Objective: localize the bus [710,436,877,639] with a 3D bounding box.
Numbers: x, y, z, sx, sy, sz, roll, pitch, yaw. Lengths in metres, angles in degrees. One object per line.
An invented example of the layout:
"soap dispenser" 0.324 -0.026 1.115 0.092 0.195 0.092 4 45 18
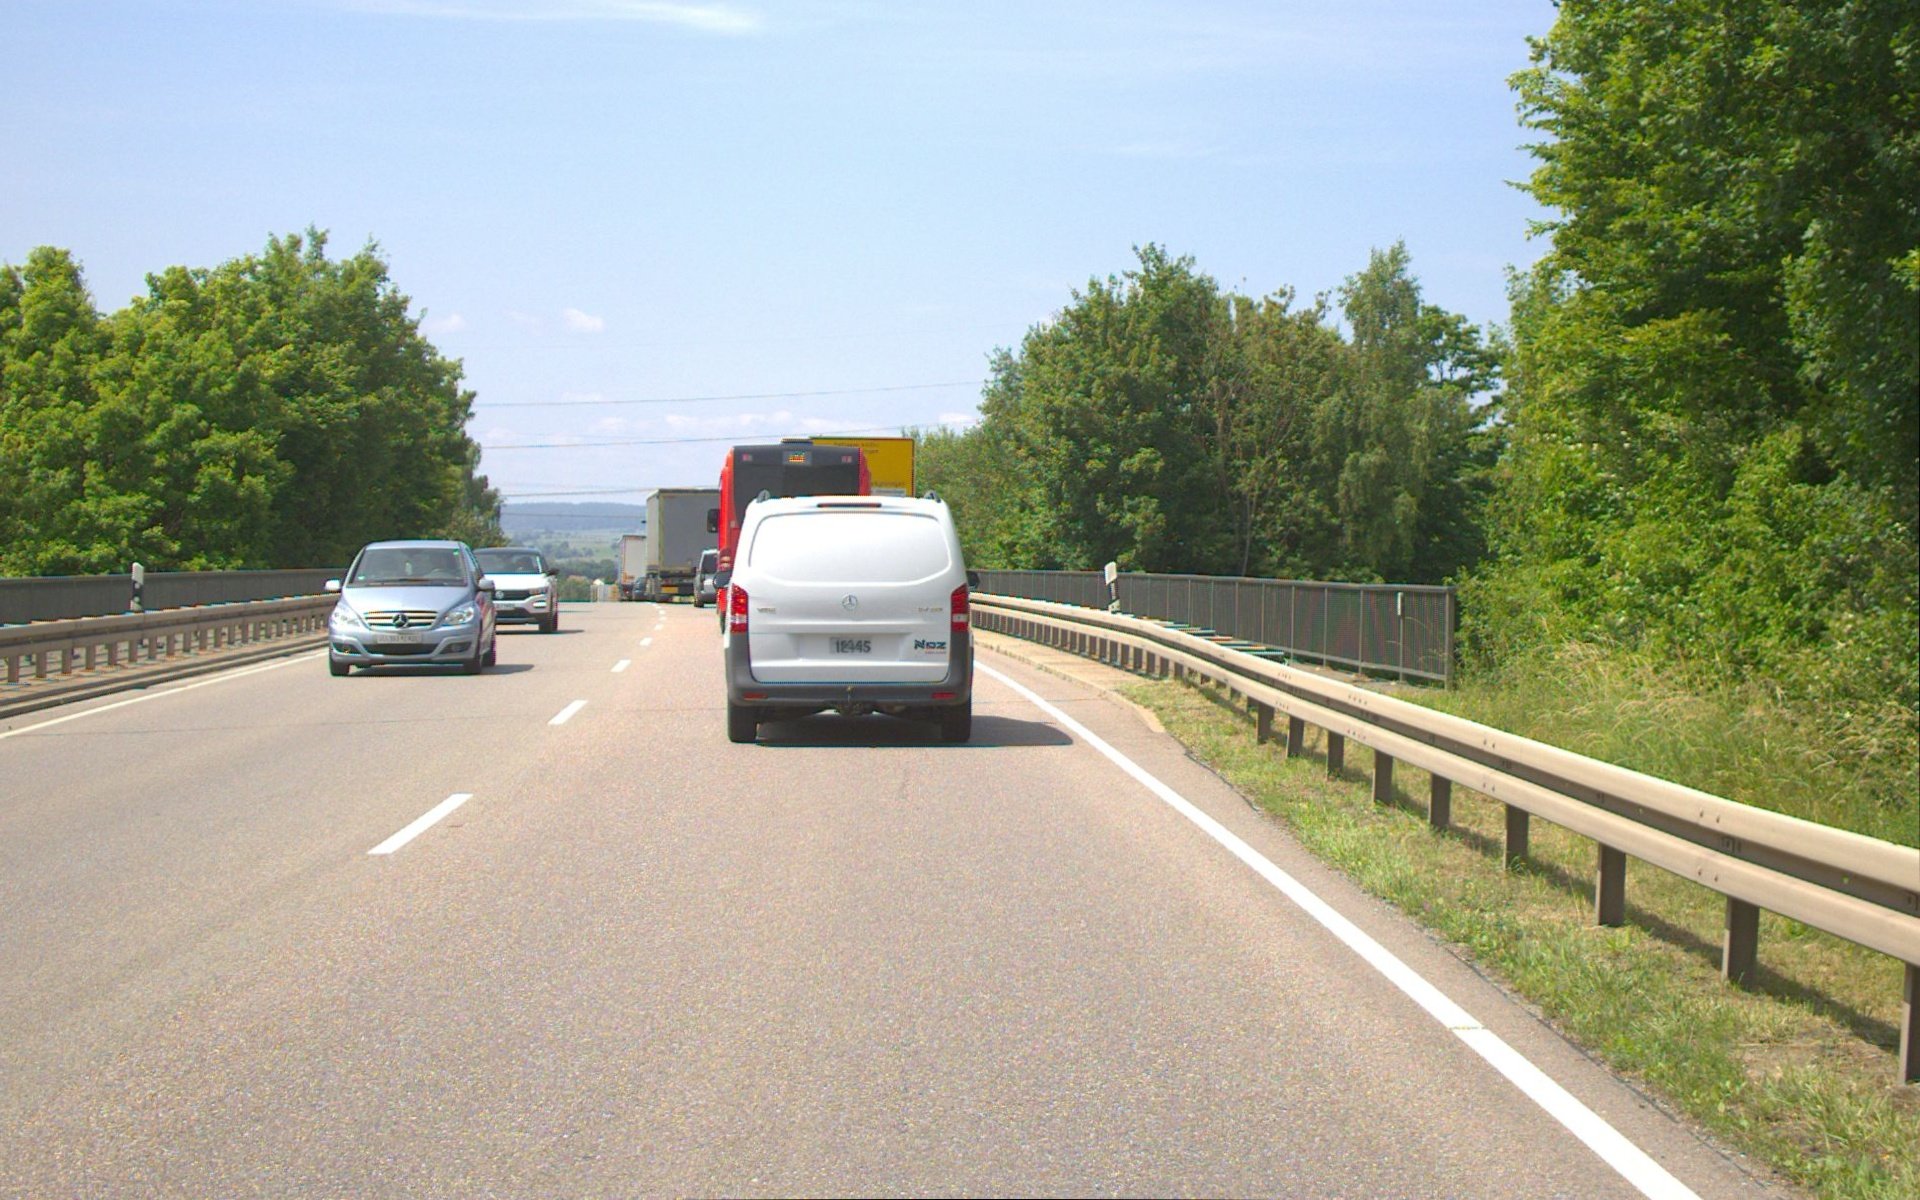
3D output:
"bus" -3.120 -1.161 63.388 2.747 3.342 13.223 0 1 -3

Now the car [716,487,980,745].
"car" -0.949 0.077 27.367 1.923 1.883 4.001 1 1 -3

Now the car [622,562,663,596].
"car" -17.344 -1.141 187.823 1.993 1.809 4.001 1 1 -9

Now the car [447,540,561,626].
"car" -8.301 -0.342 62.913 1.879 1.506 4.544 0 1 -5

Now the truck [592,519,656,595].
"truck" -20.608 -2.685 210.224 3.034 4.439 14.907 0 1 -9

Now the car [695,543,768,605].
"car" -6.954 -0.804 104.202 1.993 1.809 4.001 1 1 -7

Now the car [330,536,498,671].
"car" -6.606 0.002 41.948 1.659 1.546 4.338 0 1 -4

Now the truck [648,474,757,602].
"truck" -9.601 -2.306 126.614 3.487 4.408 14.906 0 1 -6
